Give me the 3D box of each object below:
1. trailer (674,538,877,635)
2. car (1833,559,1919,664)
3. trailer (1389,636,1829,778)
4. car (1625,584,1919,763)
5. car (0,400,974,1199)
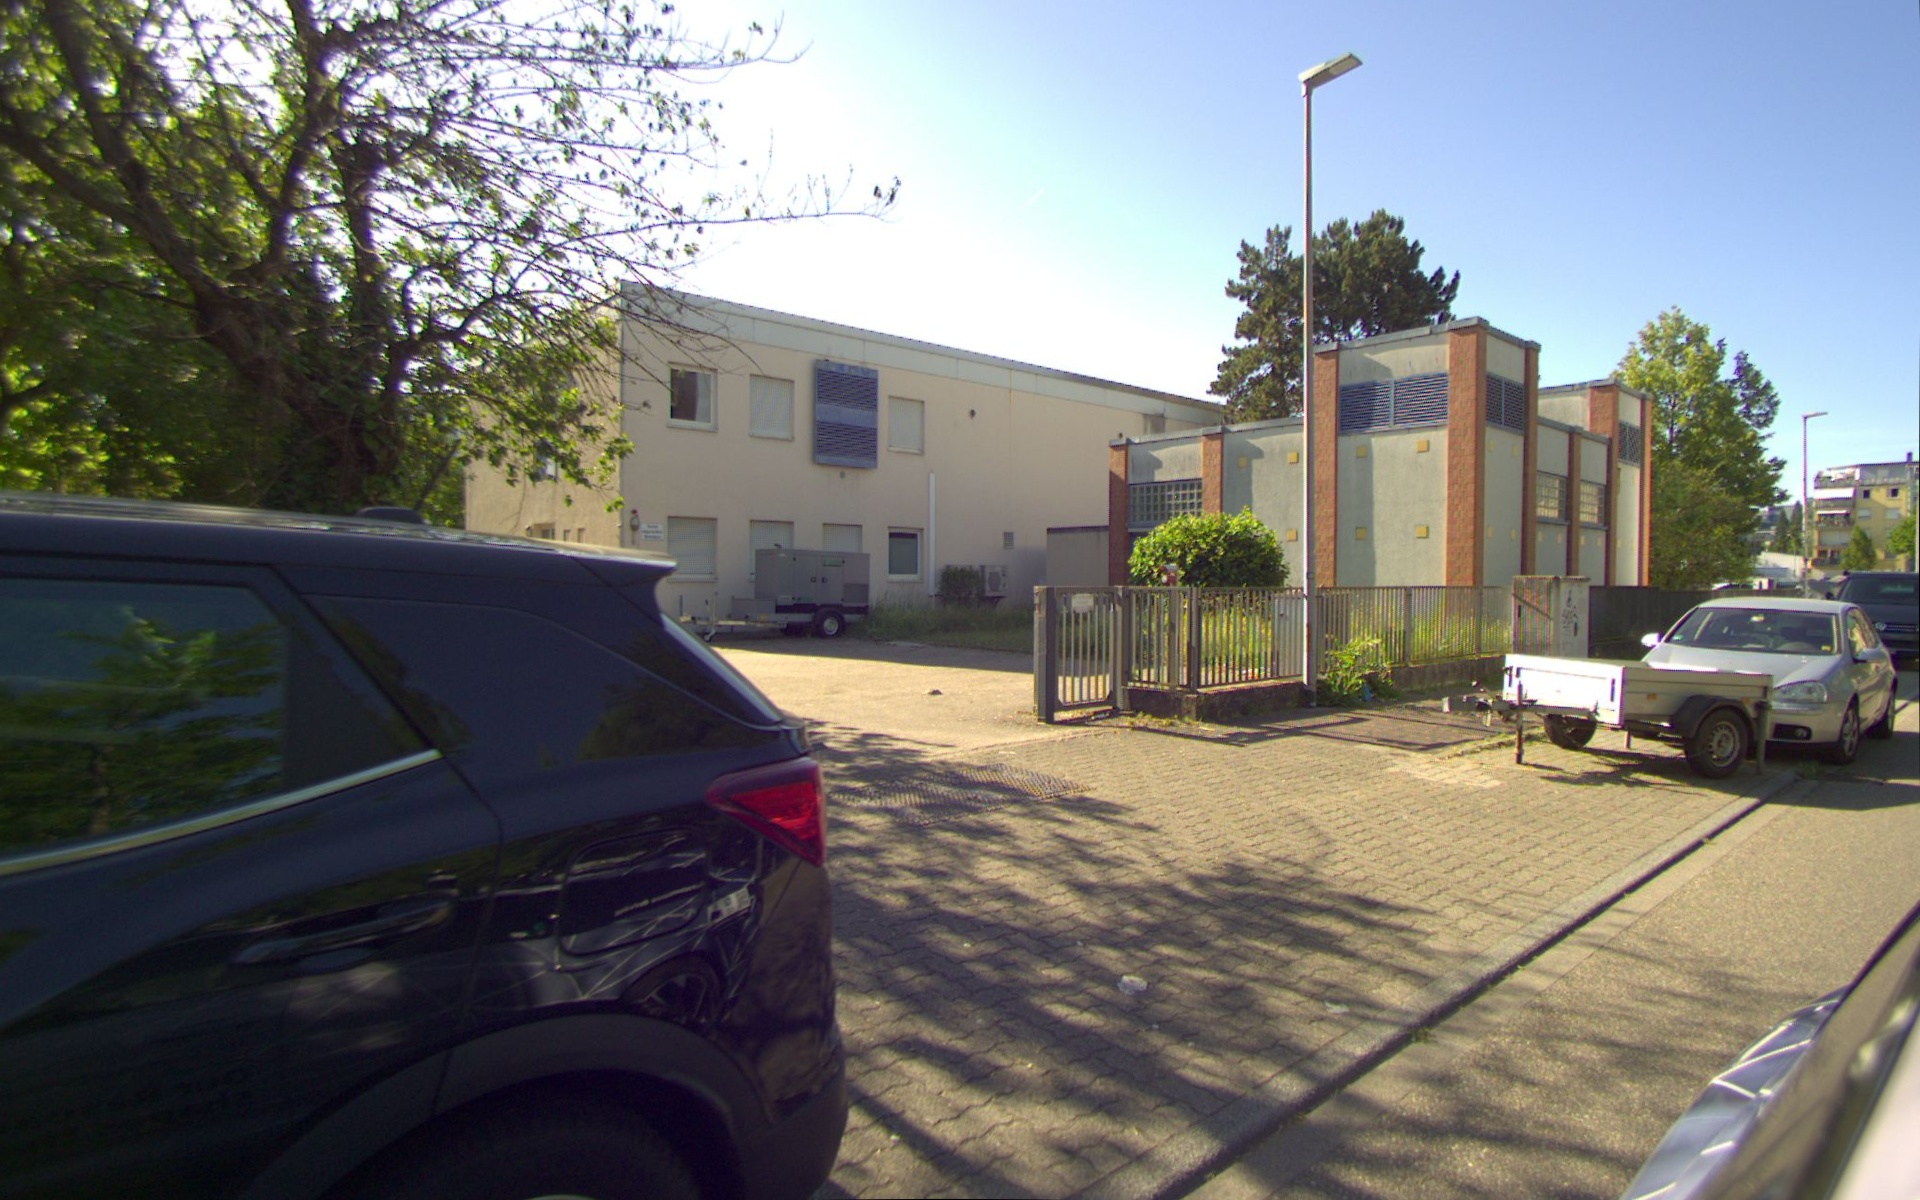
[{"bbox_3d":[-4.178,-0.307,23.287,4.193,2.039,1.997,-1,0,-41],"label":"trailer"},{"bbox_3d":[19.986,0.193,21.230,4.296,2.010,1.902,-1,2,-41],"label":"car"},{"bbox_3d":[5.451,0.836,8.639,2.918,0.938,1.571,0,2,-14],"label":"trailer"},{"bbox_3d":[8.477,0.595,10.450,3.822,1.474,1.698,-1,2,-41],"label":"car"},{"bbox_3d":[-2.223,0.591,1.260,4.329,1.650,1.878,-1,2,-41],"label":"car"}]
